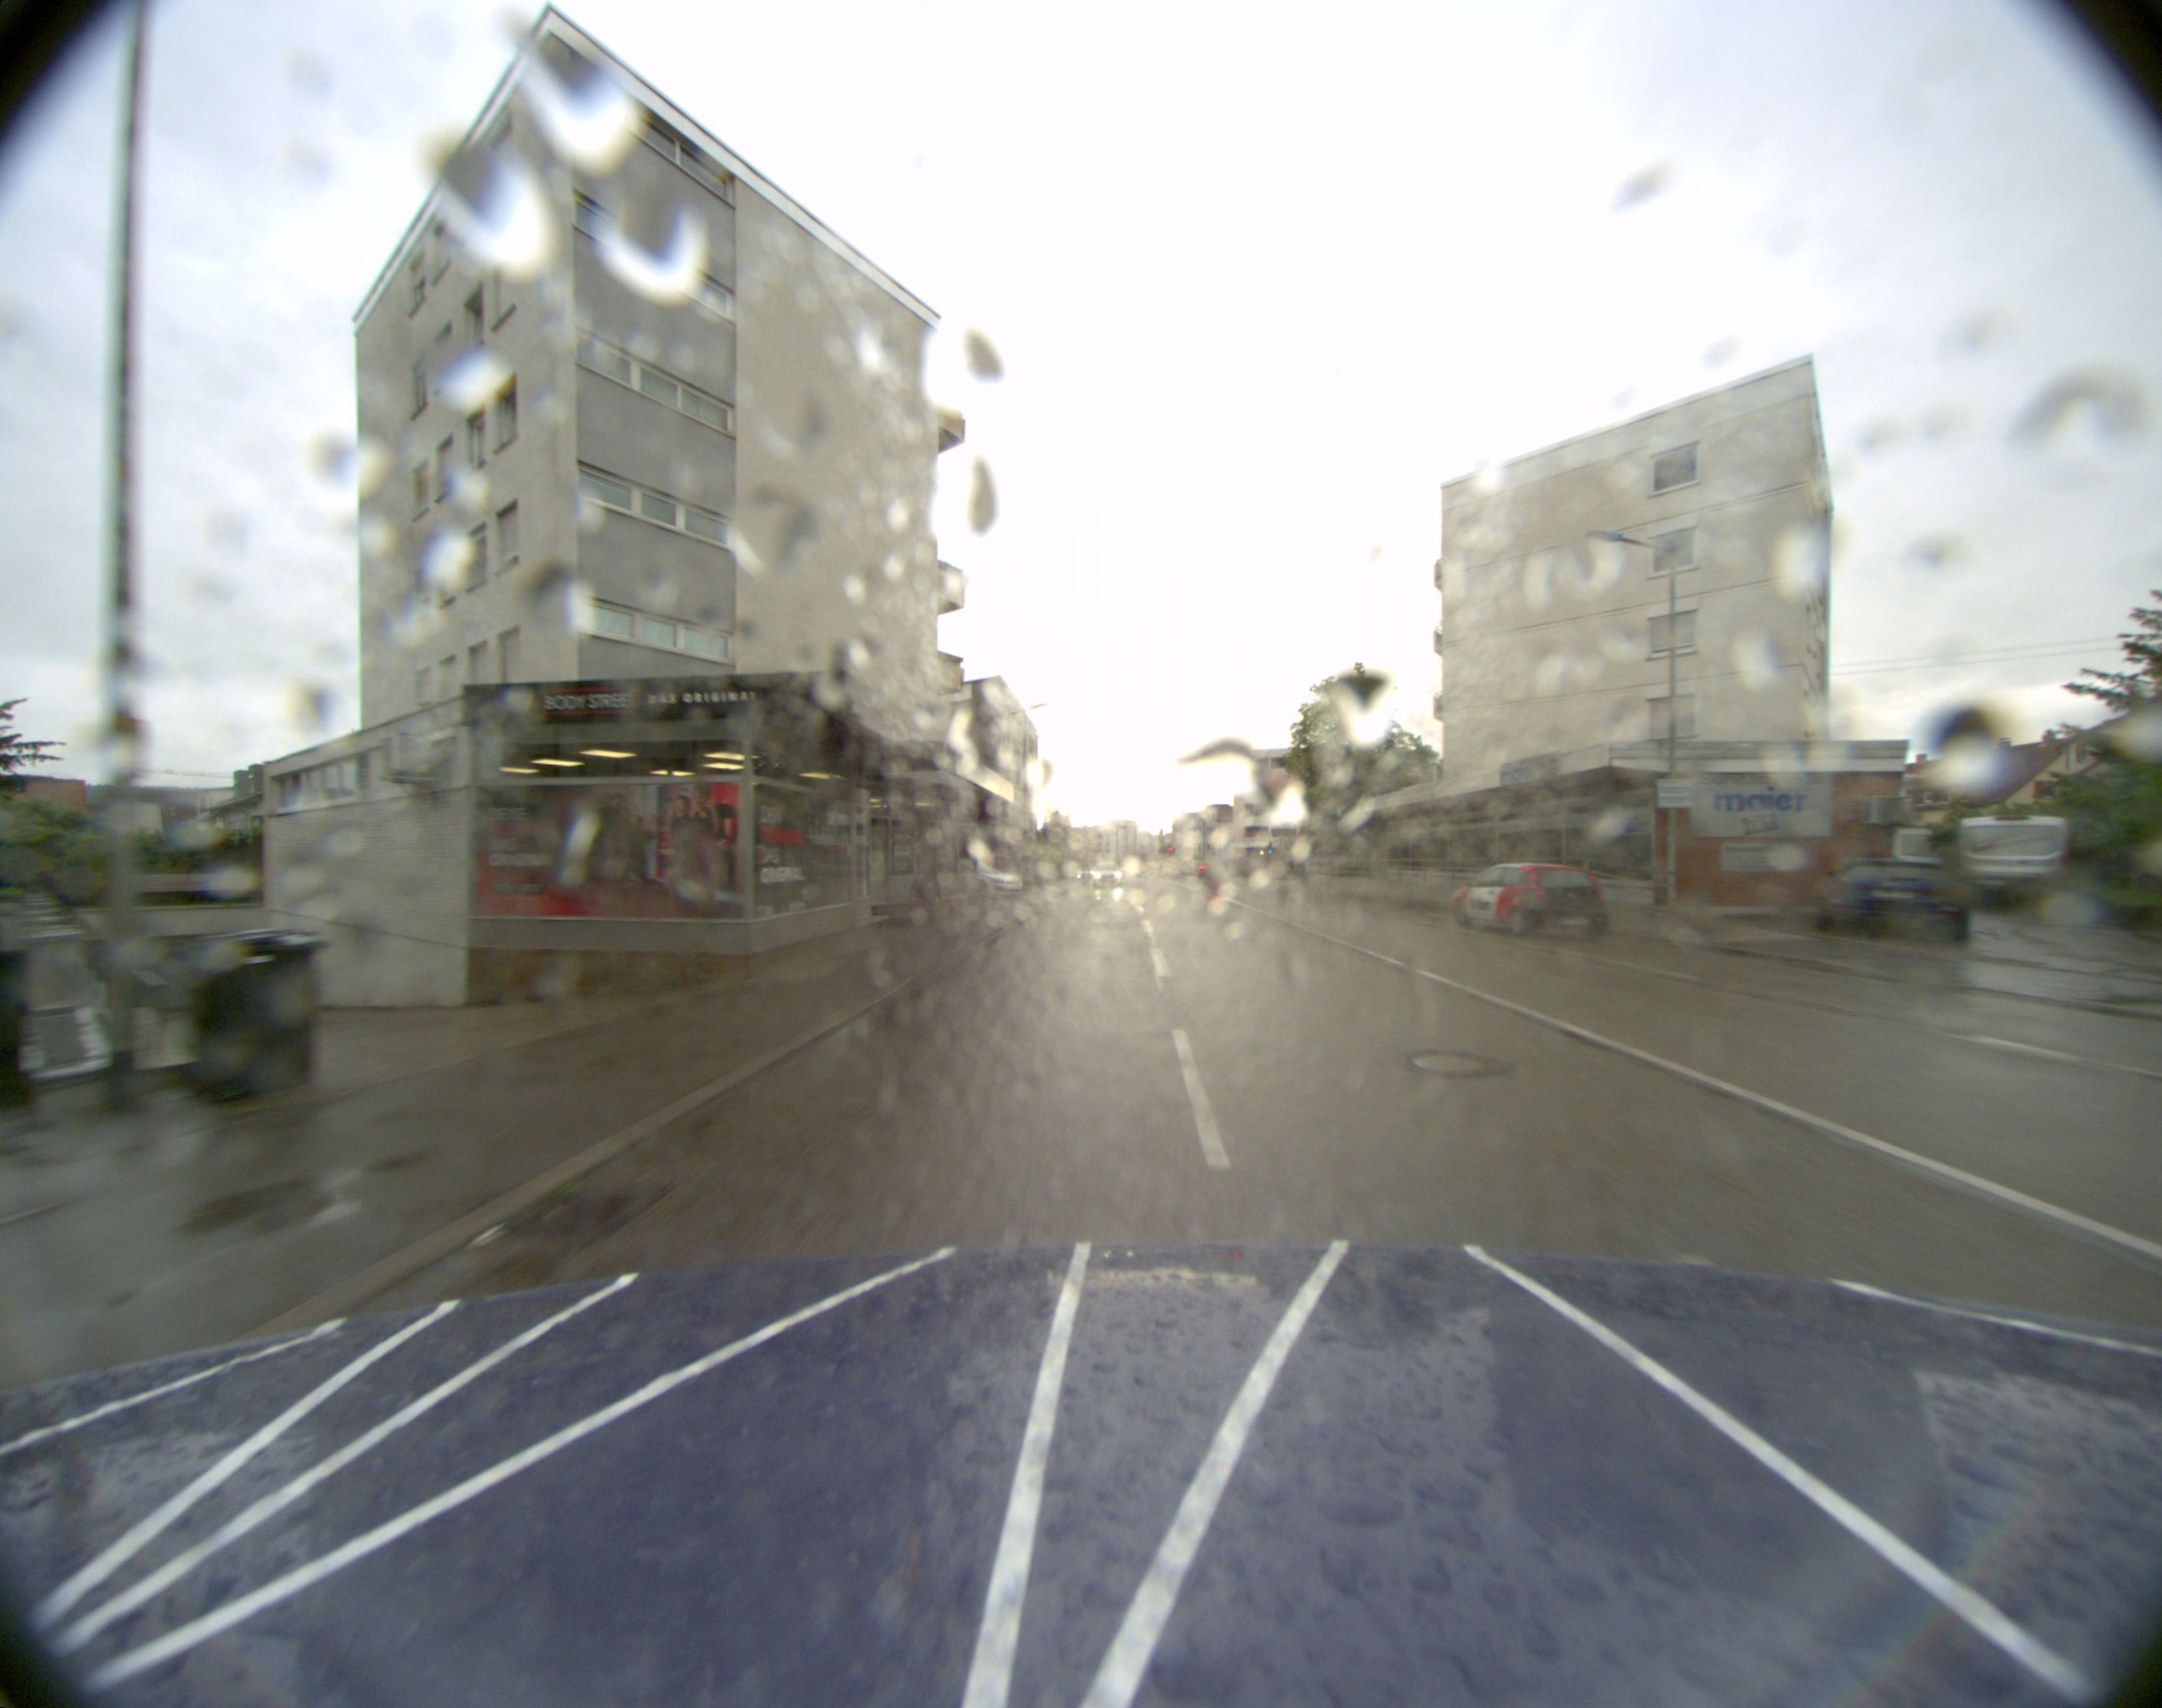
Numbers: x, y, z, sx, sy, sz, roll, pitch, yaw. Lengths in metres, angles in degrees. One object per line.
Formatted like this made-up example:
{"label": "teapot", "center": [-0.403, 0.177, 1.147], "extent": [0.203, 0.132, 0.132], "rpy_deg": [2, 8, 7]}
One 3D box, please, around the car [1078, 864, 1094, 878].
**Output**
{"label": "car", "center": [0.749, 2.526, 111.956], "extent": [1.997, 2.001, 4.003], "rpy_deg": [0, -1, 6]}

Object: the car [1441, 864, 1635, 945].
{"label": "car", "center": [9.320, 0.951, 15.925], "extent": [1.701, 1.400, 4.001], "rpy_deg": [2, -1, 2]}

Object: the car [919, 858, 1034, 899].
{"label": "car", "center": [-4.138, 0.958, 29.810], "extent": [4.259, 1.485, 1.877], "rpy_deg": [-1, -2, 32]}

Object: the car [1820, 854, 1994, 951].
{"label": "car", "center": [15.667, 0.788, 14.572], "extent": [4.480, 1.537, 1.994], "rpy_deg": [0, 1, -44]}

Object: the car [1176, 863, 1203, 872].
{"label": "car", "center": [18.598, 2.368, 130.210], "extent": [4.621, 1.487, 1.930], "rpy_deg": [0, -1, 6]}

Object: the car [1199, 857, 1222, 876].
{"label": "car", "center": [10.954, 1.097, 64.537], "extent": [1.806, 1.547, 4.321], "rpy_deg": [-1, -1, 7]}

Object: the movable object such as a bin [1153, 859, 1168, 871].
{"label": "movable object such as a bin", "center": [17.898, 2.473, 170.218], "extent": [2.921, 2.824, 2.200], "rpy_deg": [-1, -1, 19]}

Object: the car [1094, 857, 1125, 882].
{"label": "car", "center": [1.719, 0.951, 46.226], "extent": [1.829, 1.431, 4.346], "rpy_deg": [-1, -1, 2]}

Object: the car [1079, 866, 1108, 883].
{"label": "car", "center": [1.417, 2.358, 87.779], "extent": [2.002, 1.848, 3.993], "rpy_deg": [2, -1, -21]}

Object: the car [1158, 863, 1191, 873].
{"label": "car", "center": [16.558, 2.509, 134.932], "extent": [5.465, 1.673, 2.152], "rpy_deg": [-1, -1, 33]}
